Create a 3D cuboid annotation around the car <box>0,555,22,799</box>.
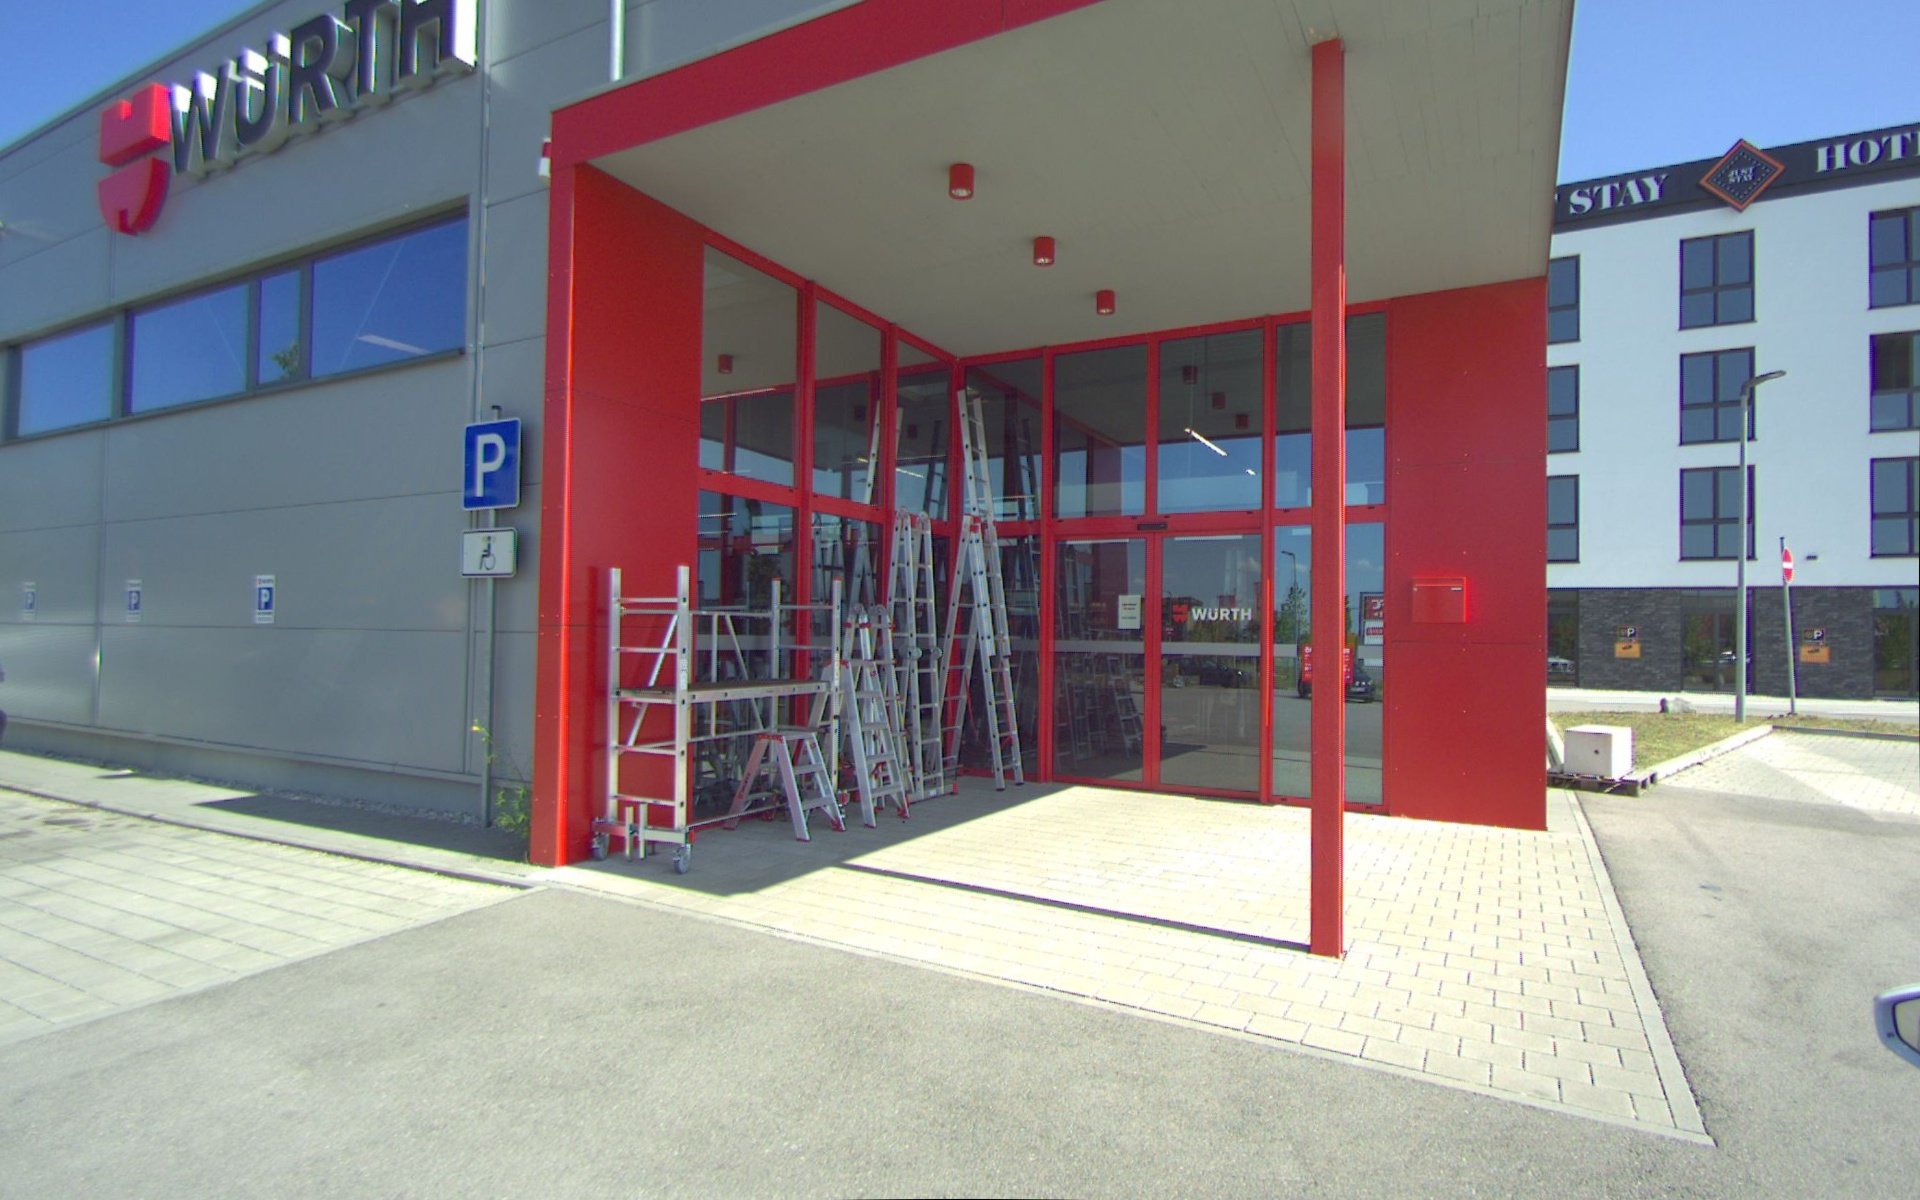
[{"bbox_3d":[-9.827,0.553,6.322,1.994,1.964,5.373,0,-2,29],"label":"car"}]
